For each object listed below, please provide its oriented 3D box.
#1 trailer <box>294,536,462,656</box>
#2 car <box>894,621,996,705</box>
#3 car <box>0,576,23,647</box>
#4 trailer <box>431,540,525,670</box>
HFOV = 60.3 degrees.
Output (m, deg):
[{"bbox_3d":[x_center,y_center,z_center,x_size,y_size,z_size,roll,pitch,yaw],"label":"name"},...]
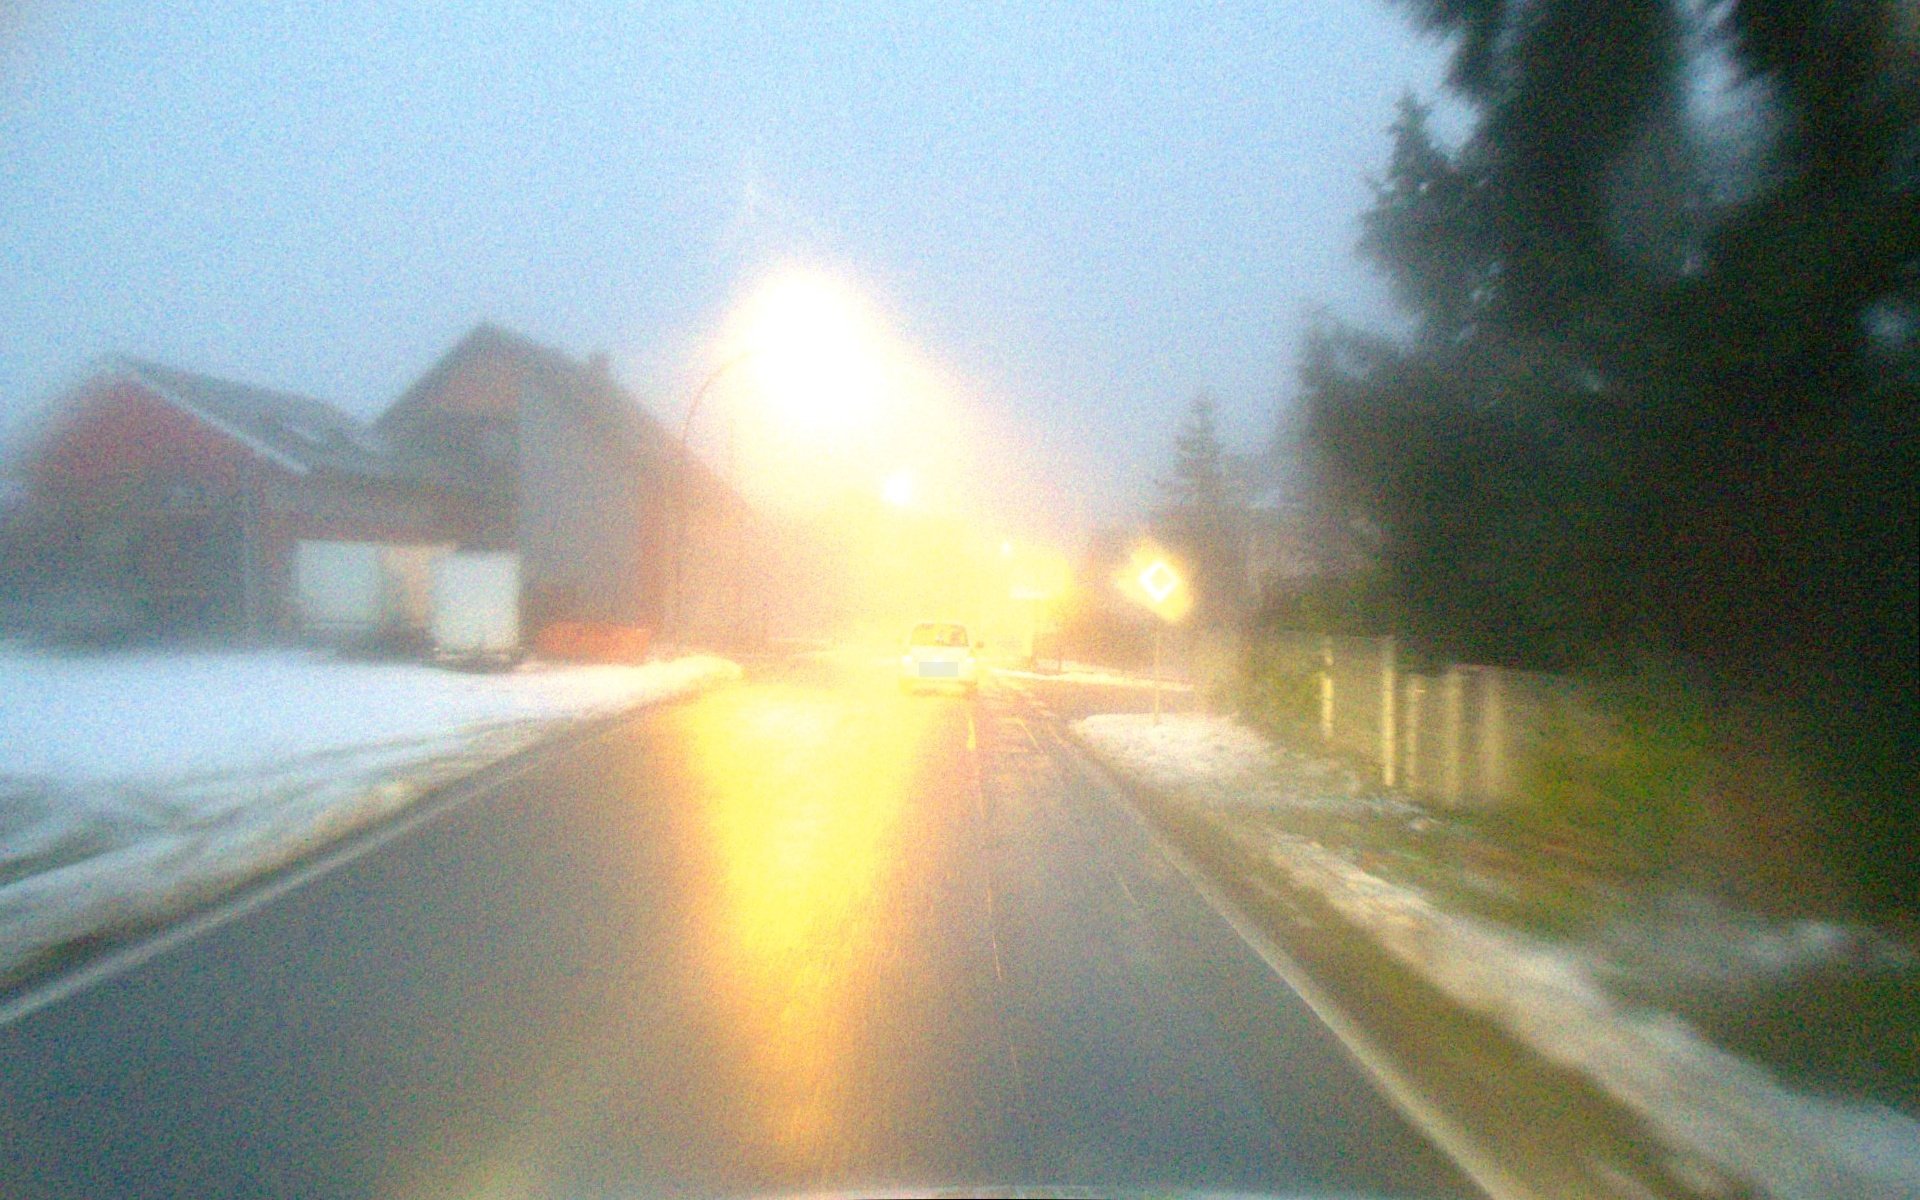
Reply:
[{"bbox_3d":[-12.976,-0.088,37.145,1.951,2.533,4.013,-1,0,7],"label":"trailer"},{"bbox_3d":[-0.284,1.236,33.708,1.953,1.534,4.000,-1,0,0],"label":"car"},{"bbox_3d":[-23.884,0.297,38.235,1.951,1.691,4.002,-1,0,5],"label":"car"},{"bbox_3d":[-10.402,0.092,35.572,1.665,2.651,3.424,-1,0,-21],"label":"trailer"}]
